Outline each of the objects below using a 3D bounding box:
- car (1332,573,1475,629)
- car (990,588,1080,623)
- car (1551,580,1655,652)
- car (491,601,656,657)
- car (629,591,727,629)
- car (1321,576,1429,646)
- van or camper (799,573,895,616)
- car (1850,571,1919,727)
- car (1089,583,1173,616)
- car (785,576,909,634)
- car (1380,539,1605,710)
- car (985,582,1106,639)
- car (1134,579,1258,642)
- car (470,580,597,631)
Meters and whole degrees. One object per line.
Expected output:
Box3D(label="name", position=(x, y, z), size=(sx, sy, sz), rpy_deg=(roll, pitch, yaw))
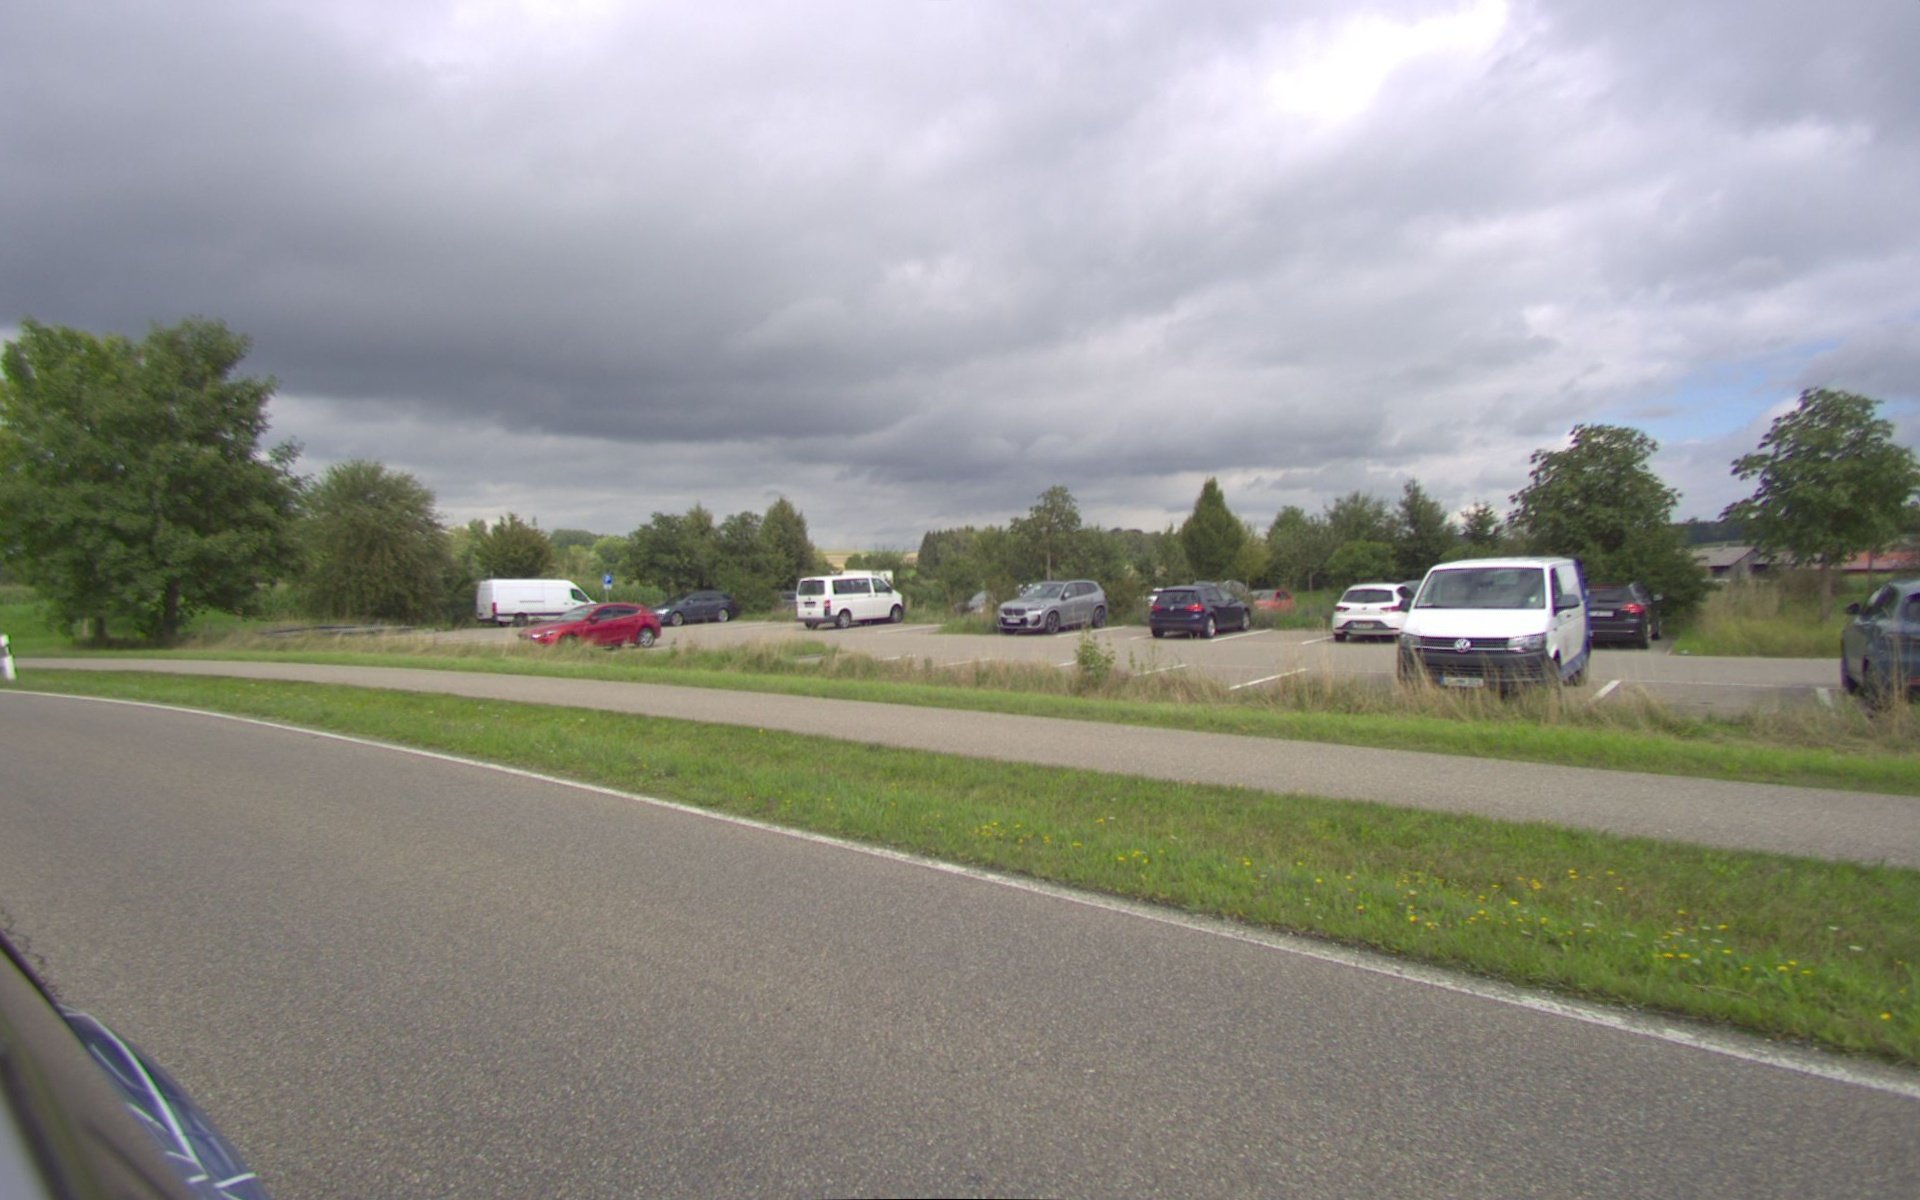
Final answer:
Box3D(label="car", position=(13.429, 0.014, 30.657), size=(3.729, 1.537, 1.783), rpy_deg=(-2, 1, -20))
Box3D(label="car", position=(3.775, 0.272, 51.250), size=(1.969, 1.635, 4.457), rpy_deg=(-2, 1, -40))
Box3D(label="car", position=(14.589, 0.307, 23.075), size=(1.836, 1.397, 3.958), rpy_deg=(-1, 2, 32))
Box3D(label="car", position=(-11.518, 0.821, 30.395), size=(1.811, 1.427, 4.322), rpy_deg=(-1, 1, 38))
Box3D(label="car", position=(-12.550, 0.423, 45.230), size=(1.791, 1.536, 3.951), rpy_deg=(-1, 1, 37))
Box3D(label="car", position=(10.822, 0.231, 26.215), size=(1.959, 1.563, 3.958), rpy_deg=(-1, 2, 32))
Box3D(label="van or camper", position=(-6.993, -0.381, 63.475), size=(2.285, 2.364, 5.968), rpy_deg=(-1, 2, 41))
Box3D(label="car", position=(11.793, 0.461, 11.727), size=(1.998, 1.607, 4.206), rpy_deg=(-1, 1, 39))
Box3D(label="car", position=(7.856, -0.021, 46.328), size=(1.966, 1.384, 3.944), rpy_deg=(-1, 1, 43))
Box3D(label="car", position=(-4.264, 0.143, 38.960), size=(2.058, 1.940, 4.638), rpy_deg=(-1, 2, 37))
Box3D(label="car", position=(7.801, 0.251, 14.561), size=(2.053, 2.029, 4.848), rpy_deg=(-1, 1, 38))
Box3D(label="car", position=(2.772, 0.291, 32.149), size=(1.963, 1.563, 3.949), rpy_deg=(-1, 2, 39))
Box3D(label="car", position=(6.856, 0.254, 29.147), size=(1.963, 1.563, 3.949), rpy_deg=(-1, 2, 39))
Box3D(label="car", position=(-23.875, 0.254, 56.888), size=(2.199, 2.639, 6.253), rpy_deg=(-1, 1, 39))
